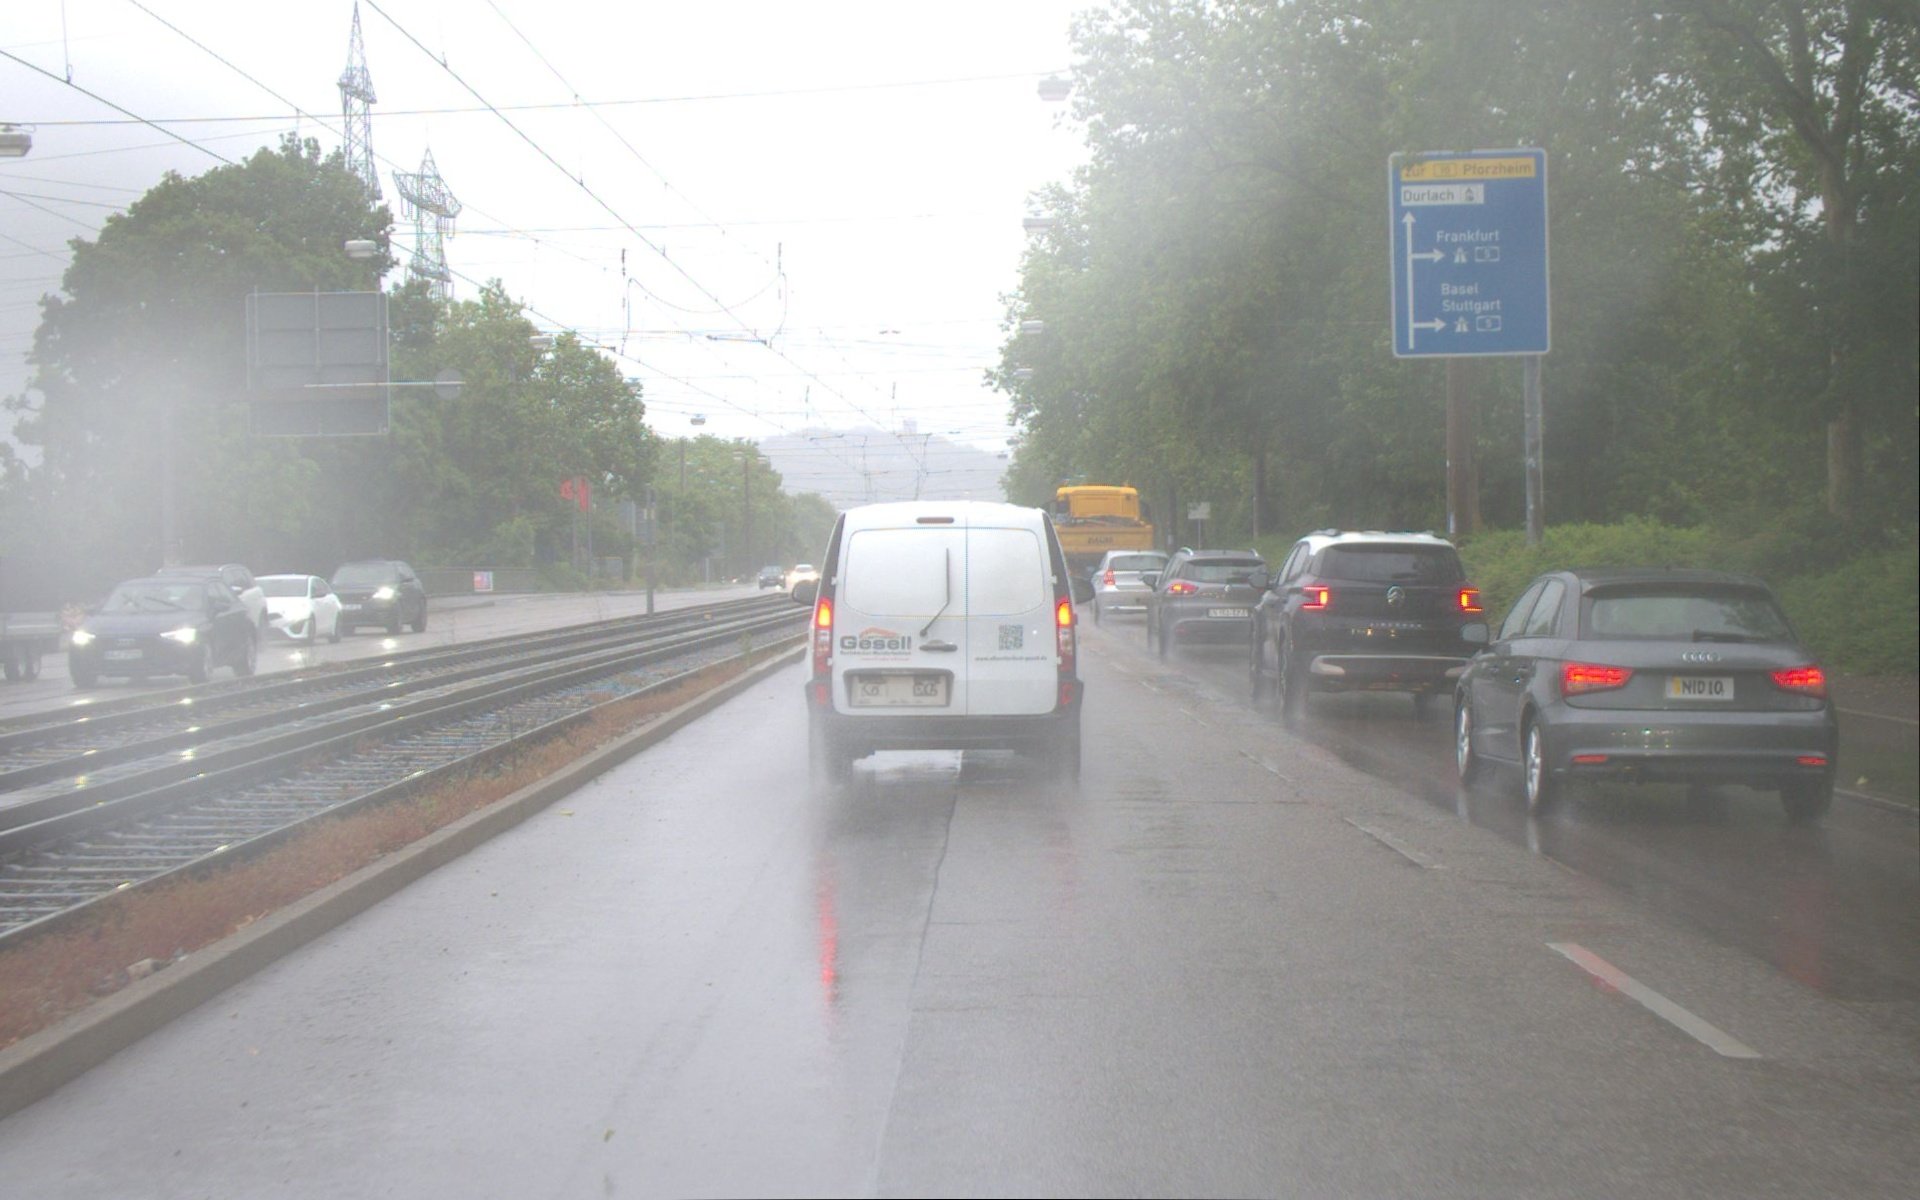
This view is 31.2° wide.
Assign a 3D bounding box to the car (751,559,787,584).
[{"bbox_3d":[-12.905,-1.953,232.910,1.994,1.612,4.253,-1,1,2],"label":"car"}]

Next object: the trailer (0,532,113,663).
[{"bbox_3d":[-13.746,-0.081,49.087,2.119,1.786,3.836,1,1,3],"label":"trailer"}]

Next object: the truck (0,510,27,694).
[{"bbox_3d":[-14.214,0.025,43.317,2.435,2.449,7.218,1,1,4],"label":"truck"}]

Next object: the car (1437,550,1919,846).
[{"bbox_3d":[4.119,0.494,20.340,1.967,1.523,3.991,0,1,-1],"label":"car"}]

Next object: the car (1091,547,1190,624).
[{"bbox_3d":[3.502,-0.313,67.302,1.818,1.409,3.778,1,1,1],"label":"car"}]

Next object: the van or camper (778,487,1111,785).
[{"bbox_3d":[-0.157,0.157,22.879,1.993,1.778,4.001,1,2,-2],"label":"van or camper"}]

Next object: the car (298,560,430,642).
[{"bbox_3d":[-13.401,-0.011,77.581,1.993,1.715,4.882,-2,1,1],"label":"car"}]

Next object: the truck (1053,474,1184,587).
[{"bbox_3d":[3.985,-1.769,87.891,3.113,2.764,6.329,0,1,1],"label":"truck"}]

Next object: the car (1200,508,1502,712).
[{"bbox_3d":[3.479,0.025,31.480,1.899,1.711,4.726,0,1,-4],"label":"car"}]

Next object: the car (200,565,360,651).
[{"bbox_3d":[-13.554,0.130,68.779,1.994,1.578,4.766,-2,1,3],"label":"car"}]

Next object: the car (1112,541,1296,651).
[{"bbox_3d":[3.316,-0.078,47.349,1.818,1.409,3.779,0,1,-7],"label":"car"}]

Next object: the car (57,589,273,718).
[{"bbox_3d":[-10.760,0.685,46.832,1.818,1.617,4.536,-1,1,1],"label":"car"}]
